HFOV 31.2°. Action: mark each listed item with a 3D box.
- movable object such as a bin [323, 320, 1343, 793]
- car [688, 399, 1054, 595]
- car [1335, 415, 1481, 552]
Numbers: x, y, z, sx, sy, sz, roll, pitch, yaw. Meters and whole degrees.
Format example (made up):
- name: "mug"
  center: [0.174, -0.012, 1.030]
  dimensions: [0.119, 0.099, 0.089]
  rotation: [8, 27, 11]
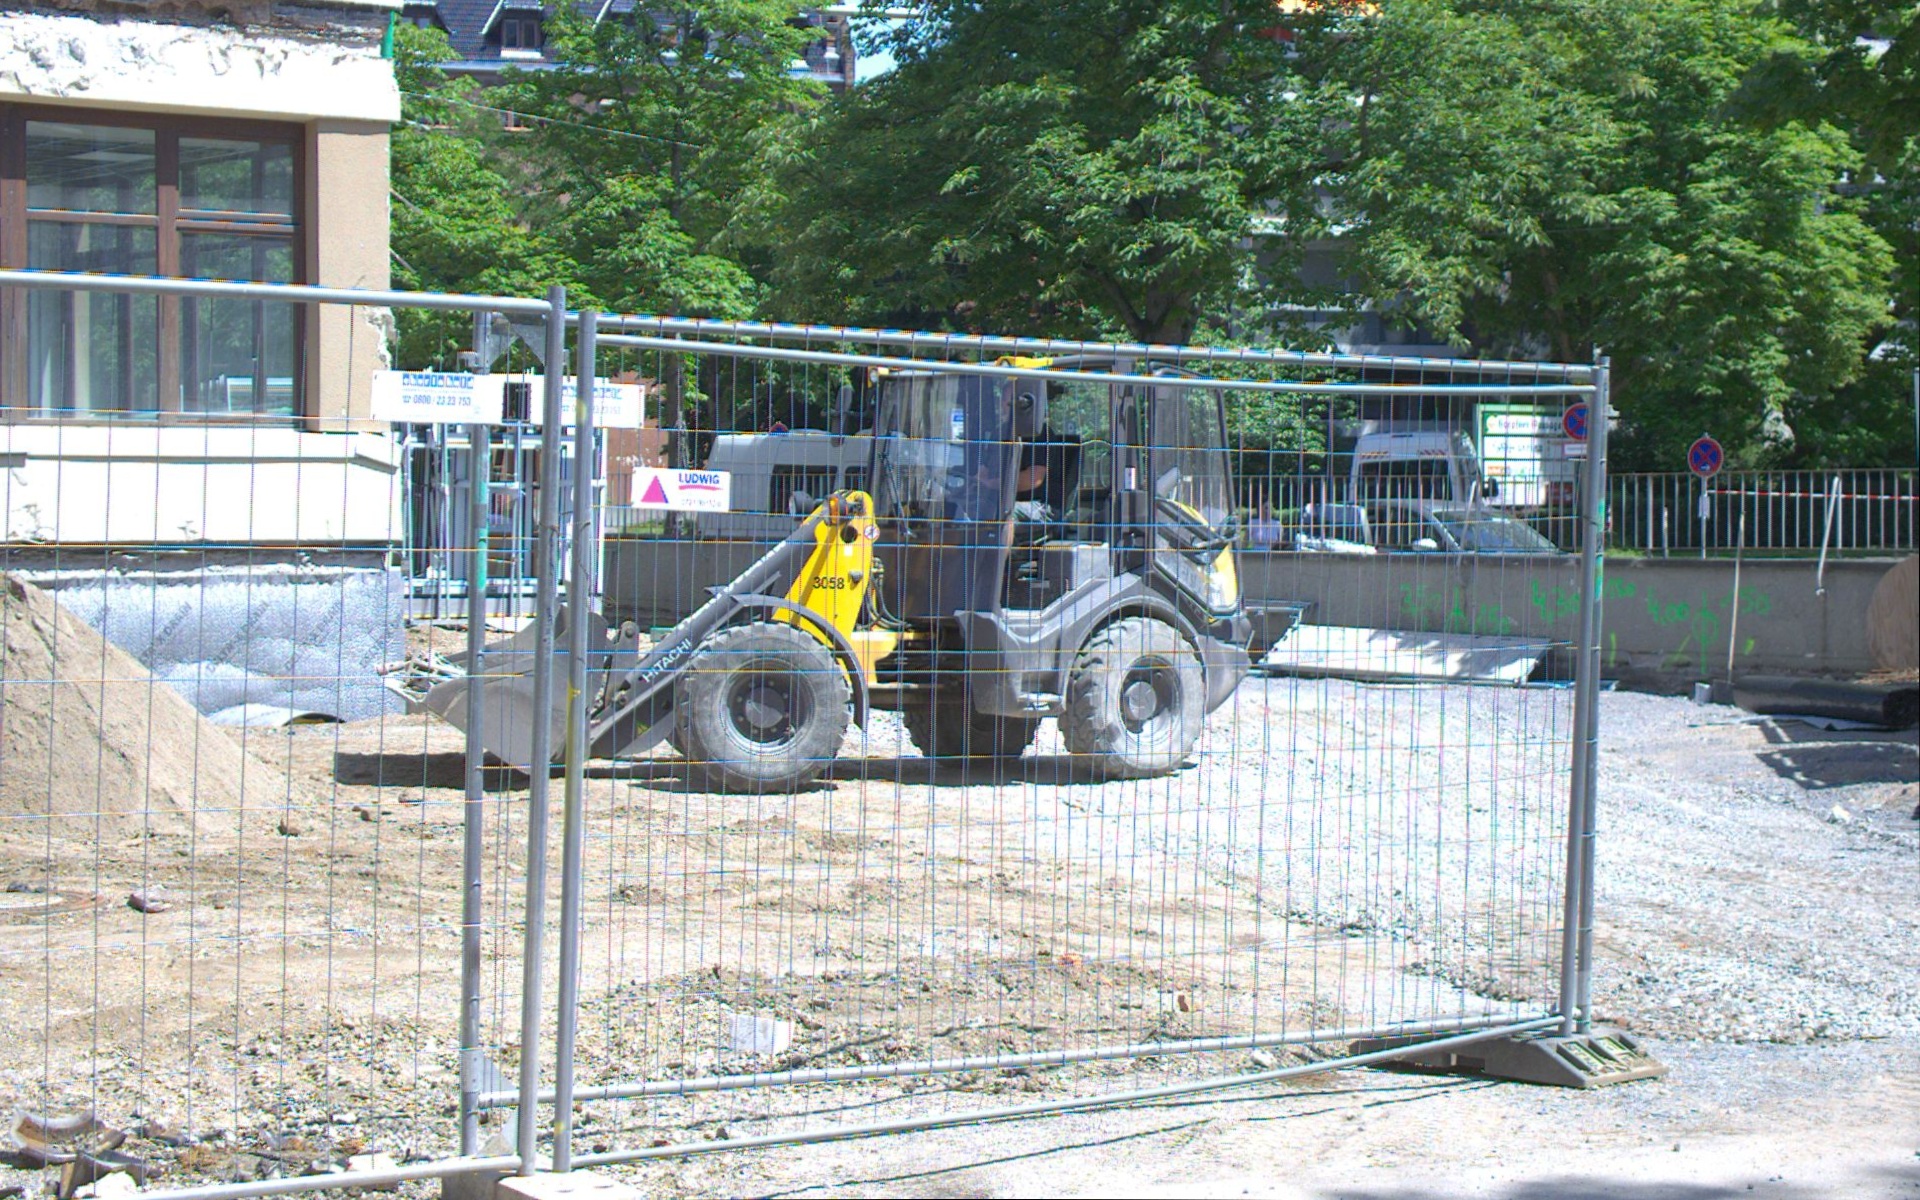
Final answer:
- name: "movable object such as a bin"
  center: [-0.767, -0.271, 19.876]
  dimensions: [5.401, 2.455, 2.369]
  rotation: [0, 2, -20]
- name: "car"
  center: [-1.243, -1.337, 45.055]
  dimensions: [1.994, 2.408, 5.241]
  rotation: [-1, 2, -39]
- name: "car"
  center: [7.719, -1.973, 58.849]
  dimensions: [2.185, 2.250, 4.867]
  rotation: [0, 1, 11]
